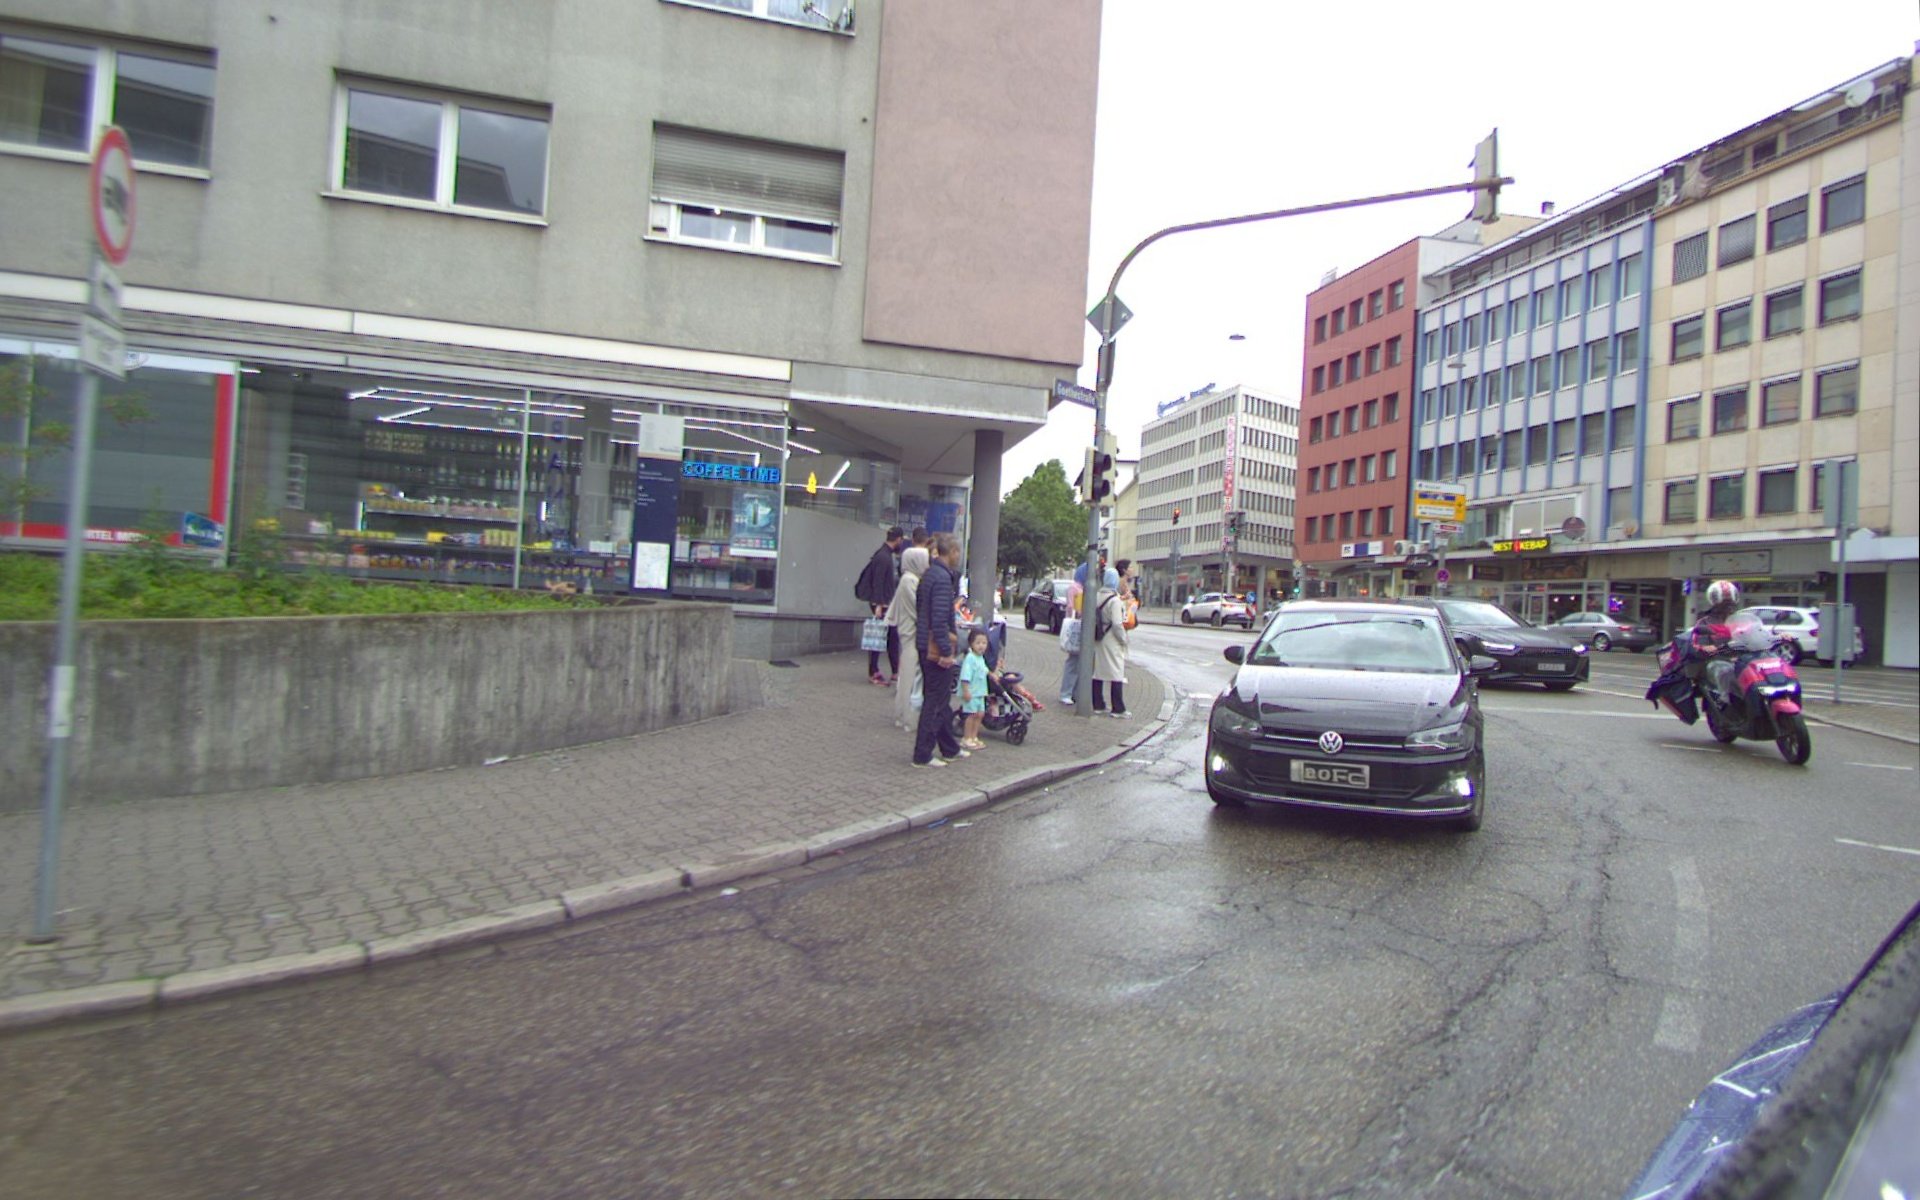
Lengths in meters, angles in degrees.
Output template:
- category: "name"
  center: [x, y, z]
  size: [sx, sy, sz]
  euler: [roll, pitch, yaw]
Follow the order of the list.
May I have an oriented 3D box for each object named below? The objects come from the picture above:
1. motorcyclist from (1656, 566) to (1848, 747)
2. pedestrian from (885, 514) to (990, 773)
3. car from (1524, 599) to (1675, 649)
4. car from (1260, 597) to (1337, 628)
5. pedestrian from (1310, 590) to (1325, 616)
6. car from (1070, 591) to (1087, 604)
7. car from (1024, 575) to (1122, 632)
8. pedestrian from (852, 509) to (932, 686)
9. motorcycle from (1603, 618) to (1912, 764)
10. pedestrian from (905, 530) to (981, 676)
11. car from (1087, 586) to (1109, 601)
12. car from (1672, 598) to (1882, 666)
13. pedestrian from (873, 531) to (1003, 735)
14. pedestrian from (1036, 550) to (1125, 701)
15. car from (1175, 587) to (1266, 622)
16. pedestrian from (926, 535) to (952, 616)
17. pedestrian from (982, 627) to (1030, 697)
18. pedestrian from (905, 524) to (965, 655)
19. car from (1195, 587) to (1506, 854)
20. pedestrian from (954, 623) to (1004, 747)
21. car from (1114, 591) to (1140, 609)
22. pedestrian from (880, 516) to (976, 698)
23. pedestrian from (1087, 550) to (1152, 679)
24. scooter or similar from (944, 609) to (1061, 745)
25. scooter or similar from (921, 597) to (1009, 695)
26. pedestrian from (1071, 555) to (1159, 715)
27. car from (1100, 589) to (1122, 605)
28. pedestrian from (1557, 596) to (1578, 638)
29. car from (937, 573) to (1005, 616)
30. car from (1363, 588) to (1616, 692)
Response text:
- category: "motorcyclist"
  center: [7.597, 0.514, 9.768]
  size: [1.073, 1.625, 0.952]
  euler: [1, 0, 3]
- category: "pedestrian"
  center: [-0.160, 0.303, 7.967]
  size: [0.606, 1.889, 0.787]
  euler: [5, 4, 3]
- category: "car"
  center: [23.571, 0.847, 37.558]
  size: [1.832, 1.628, 4.889]
  euler: [2, 0, -12]
- category: "car"
  center: [17.339, 0.603, 52.108]
  size: [1.754, 1.464, 4.761]
  euler: [2, 0, -8]
- category: "pedestrian"
  center: [24.812, 0.220, 70.192]
  size: [0.730, 1.770, 0.732]
  euler: [1, -1, -41]
- category: "car"
  center: [16.914, -0.315, 144.653]
  size: [1.990, 1.864, 4.042]
  euler: [1, 0, 2]
- category: "car"
  center: [3.279, 0.087, 30.189]
  size: [1.834, 1.567, 4.110]
  euler: [1, 0, -10]
- category: "pedestrian"
  center: [-0.799, -0.036, 11.826]
  size: [0.804, 1.955, 0.733]
  euler: [3, 1, -4]
- category: "motorcycle"
  center: [7.607, 0.808, 9.869]
  size: [1.290, 1.149, 2.184]
  euler: [2, 1, 3]
- category: "pedestrian"
  center: [-0.227, 0.025, 12.782]
  size: [0.822, 1.743, 0.618]
  euler: [4, 2, -4]
- category: "car"
  center: [16.042, -0.711, 117.903]
  size: [1.898, 1.693, 4.444]
  euler: [1, 0, 1]
- category: "car"
  center: [24.985, 0.898, 31.241]
  size: [1.816, 1.850, 4.973]
  euler: [2, 0, -12]
- category: "pedestrian"
  center: [-0.182, 0.285, 9.427]
  size: [1.020, 1.744, 0.837]
  euler: [4, 0, 5]
- category: "pedestrian"
  center: [1.415, 0.274, 11.835]
  size: [0.739, 1.654, 0.590]
  euler: [6, 4, 29]
- category: "car"
  center: [12.051, 0.209, 47.108]
  size: [1.958, 1.571, 4.437]
  euler: [1, 0, -20]
- category: "pedestrian"
  center: [-0.229, -0.265, 11.046]
  size: [0.217, 0.858, 0.440]
  euler: [0, 0, 8]
- category: "pedestrian"
  center: [0.429, 0.562, 9.317]
  size: [0.366, 0.578, 0.457]
  euler: [4, 1, 7]
- category: "pedestrian"
  center: [-0.367, -0.158, 15.060]
  size: [0.823, 1.889, 0.665]
  euler: [1, 0, 4]
- category: "car"
  center: [3.097, 0.650, 7.765]
  size: [1.726, 1.448, 3.846]
  euler: [0, 1, 26]
- category: "pedestrian"
  center: [0.168, 0.726, 8.813]
  size: [0.257, 1.011, 0.470]
  euler: [7, 1, 10]
- category: "car"
  center: [15.910, -0.018, 96.457]
  size: [1.966, 1.652, 4.610]
  euler: [1, 0, 3]
- category: "pedestrian"
  center: [-0.365, 0.061, 11.127]
  size: [0.821, 1.887, 0.660]
  euler: [5, 3, -8]
- category: "pedestrian"
  center: [2.234, 0.191, 14.124]
  size: [0.621, 1.713, 0.776]
  euler: [5, 2, 23]
- category: "scooter or similar"
  center: [0.408, 0.687, 9.347]
  size: [0.956, 1.123, 0.654]
  euler: [4, 1, 7]
- category: "scooter or similar"
  center: [0.037, 0.529, 11.973]
  size: [0.756, 0.998, 1.051]
  euler: [4, 3, -13]
- category: "pedestrian"
  center: [1.718, 0.364, 11.338]
  size: [0.529, 1.656, 0.841]
  euler: [5, 3, -13]
- category: "car"
  center: [16.527, -0.308, 110.935]
  size: [1.990, 1.772, 4.610]
  euler: [1, 0, 3]
- category: "pedestrian"
  center: [25.135, 0.705, 41.879]
  size: [0.438, 1.730, 0.585]
  euler: [1, -1, -12]
- category: "car"
  center: [0.399, -0.192, 41.519]
  size: [1.958, 1.604, 4.110]
  euler: [1, -1, -11]
- category: "car"
  center: [9.032, 0.590, 17.835]
  size: [1.962, 1.510, 4.734]
  euler: [2, 0, 1]
